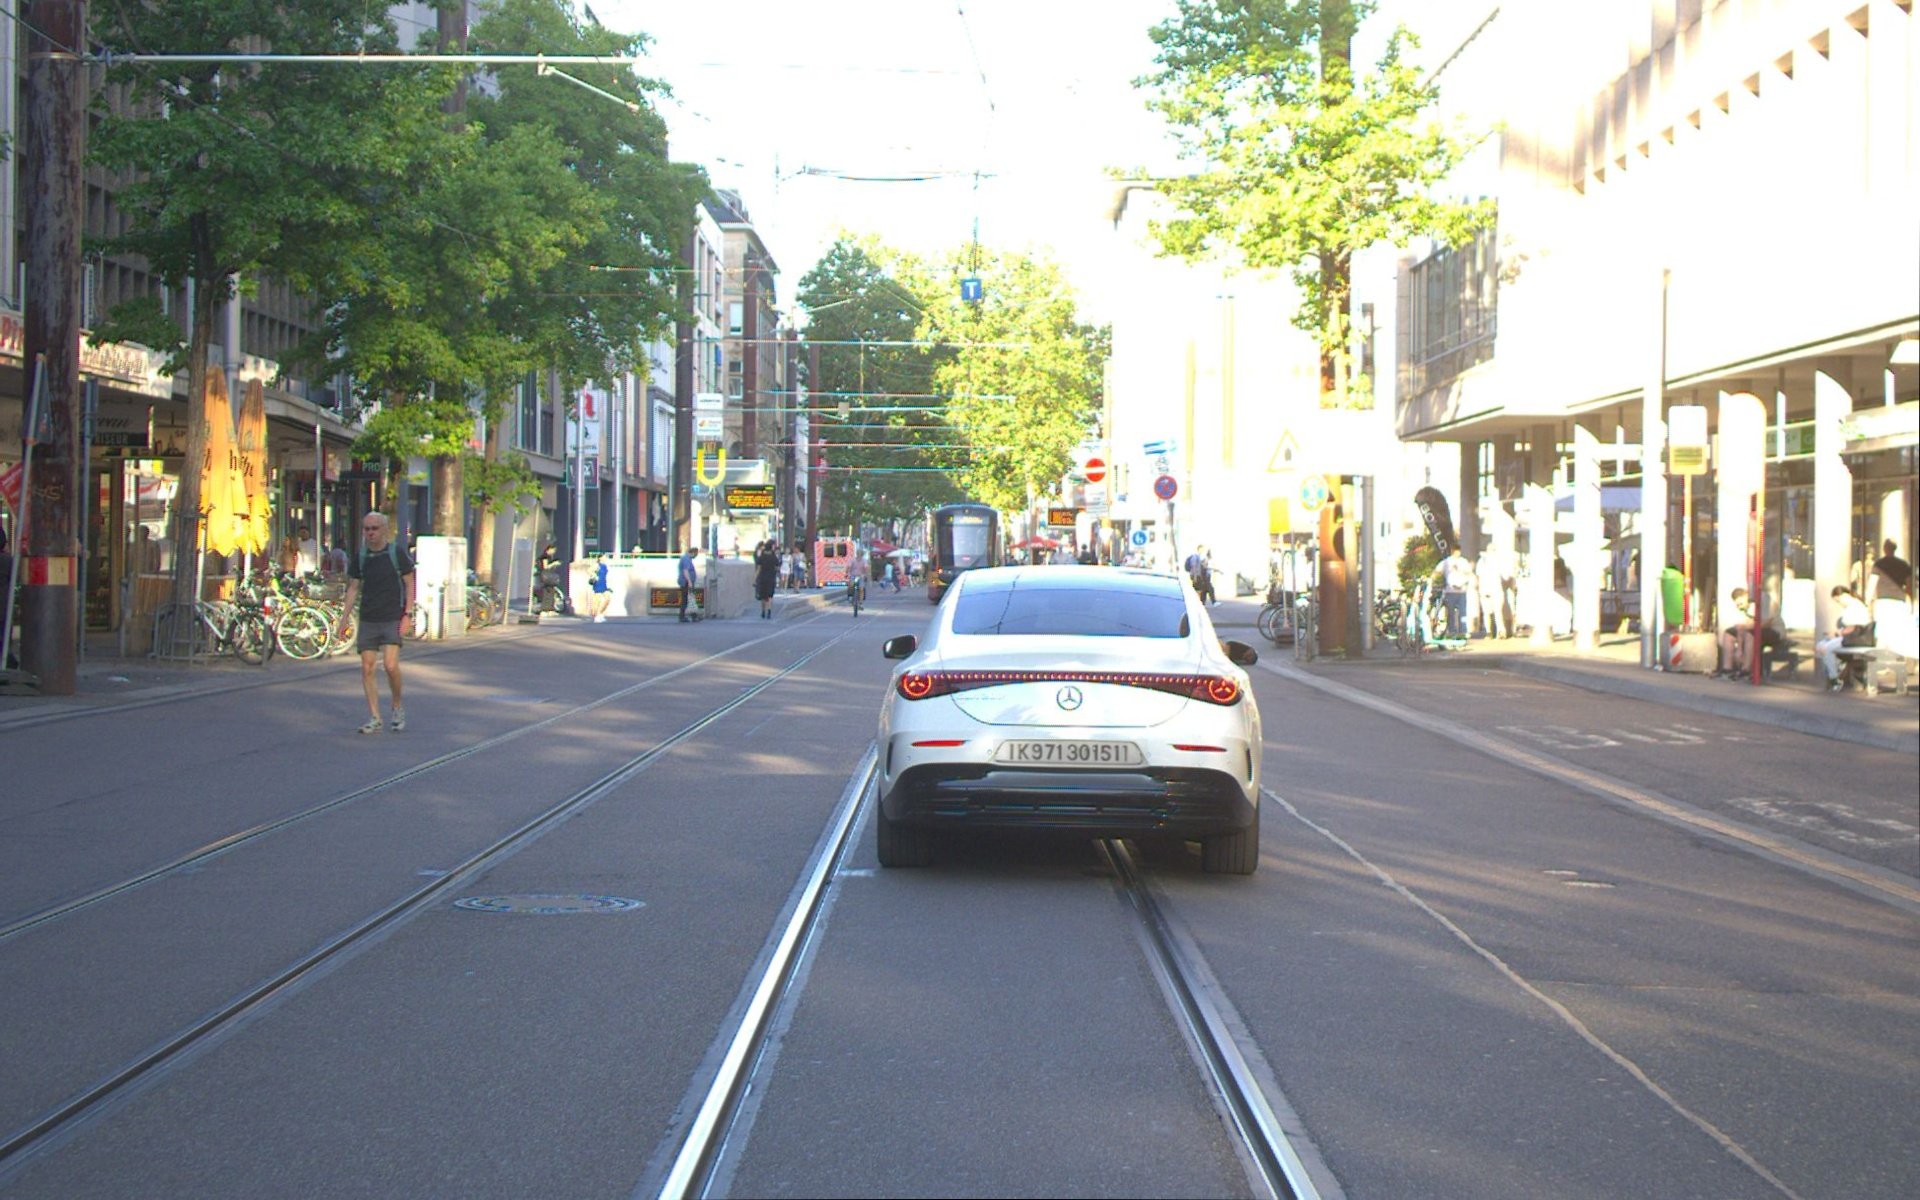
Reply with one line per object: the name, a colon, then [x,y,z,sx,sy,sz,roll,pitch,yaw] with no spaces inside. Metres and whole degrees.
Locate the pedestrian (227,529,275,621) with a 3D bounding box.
pedestrian: [-11.975,-0.419,58.071,0.714,1.542,0.685,0,1,-6]

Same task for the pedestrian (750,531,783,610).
pedestrian: [-4.787,-0.730,84.981,0.540,1.922,0.571,1,1,44]

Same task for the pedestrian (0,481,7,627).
pedestrian: [-10.232,-0.273,34.848,0.800,1.917,1.071,3,1,-3]

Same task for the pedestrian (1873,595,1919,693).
pedestrian: [10.275,0.470,36.808,0.836,1.027,0.696,1,1,5]

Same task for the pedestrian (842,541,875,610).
pedestrian: [-2.670,-0.652,90.480,0.800,1.776,0.849,2,1,-1]

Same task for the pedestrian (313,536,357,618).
pedestrian: [-13.421,-0.501,73.797,0.816,1.755,0.780,0,1,-2]

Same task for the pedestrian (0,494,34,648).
pedestrian: [-11.488,-0.360,40.872,0.622,1.798,0.933,3,1,1]

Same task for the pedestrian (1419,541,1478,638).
pedestrian: [9.037,-0.197,63.619,0.899,1.739,0.689,-3,1,0]

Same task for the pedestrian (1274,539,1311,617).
pedestrian: [7.673,-0.510,79.341,0.748,1.779,0.767,-1,1,0]

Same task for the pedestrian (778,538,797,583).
pedestrian: [-6.126,-1.415,121.937,0.660,1.593,0.573,0,1,-1]

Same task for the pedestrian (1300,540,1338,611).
pedestrian: [9.086,-0.621,86.968,0.840,1.779,0.804,-1,1,0]

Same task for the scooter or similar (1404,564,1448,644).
scooter or similar: [7.559,0.062,55.754,0.491,1.273,0.660,-1,1,-11]

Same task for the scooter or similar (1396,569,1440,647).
scooter or similar: [7.594,0.129,57.011,0.527,1.273,0.660,-1,1,-11]

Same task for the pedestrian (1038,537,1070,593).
pedestrian: [3.035,-1.125,110.870,0.960,1.779,0.804,-1,1,0]

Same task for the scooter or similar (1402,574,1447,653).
scooter or similar: [7.613,0.223,56.401,0.527,1.273,0.660,-1,1,-11]

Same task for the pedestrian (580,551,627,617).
pedestrian: [-8.222,-0.375,79.325,0.955,1.491,0.944,0,1,1]

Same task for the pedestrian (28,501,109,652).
pedestrian: [-10.595,-0.282,40.875,0.622,1.741,0.933,3,1,1]

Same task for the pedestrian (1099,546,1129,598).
pedestrian: [5.310,-0.958,118.228,0.960,1.779,0.804,-1,1,0]

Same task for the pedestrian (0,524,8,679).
pedestrian: [-9.588,0.004,32.927,0.622,1.504,0.833,3,1,1]

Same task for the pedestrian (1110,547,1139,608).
pedestrian: [4.602,-0.644,96.144,0.746,1.693,0.840,0,1,-2]

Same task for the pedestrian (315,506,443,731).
pedestrian: [-4.786,0.146,28.362,0.841,1.795,0.790,2,1,1]

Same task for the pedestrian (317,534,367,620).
pedestrian: [-12.698,-0.475,70.594,0.723,1.755,0.818,0,1,-34]

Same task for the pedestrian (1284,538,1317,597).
pedestrian: [9.775,-0.937,98.668,0.817,1.679,0.804,-1,1,0]

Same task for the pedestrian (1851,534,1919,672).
pedestrian: [11.808,0.035,43.711,0.715,1.735,0.835,1,1,1]

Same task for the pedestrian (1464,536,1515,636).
pedestrian: [9.788,-0.261,63.613,0.701,1.806,1.033,-3,1,0]

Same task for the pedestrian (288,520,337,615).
pedestrian: [-12.102,-0.601,64.245,0.785,1.760,0.537,0,1,-24]

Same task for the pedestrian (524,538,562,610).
pedestrian: [-10.044,-0.633,82.824,0.837,1.711,0.785,0,1,-1]

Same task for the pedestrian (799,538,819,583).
pedestrian: [-5.362,-1.404,122.015,0.660,1.593,0.573,0,1,-1]

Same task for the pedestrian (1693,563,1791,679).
pedestrian: [9.480,0.251,41.691,0.833,1.372,0.778,1,1,-22]

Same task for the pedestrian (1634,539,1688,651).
pedestrian: [10.460,-0.082,51.335,0.637,1.647,0.781,1,1,1]

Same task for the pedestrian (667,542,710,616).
pedestrian: [-6.249,-0.497,79.276,0.905,1.693,0.849,0,1,1]
